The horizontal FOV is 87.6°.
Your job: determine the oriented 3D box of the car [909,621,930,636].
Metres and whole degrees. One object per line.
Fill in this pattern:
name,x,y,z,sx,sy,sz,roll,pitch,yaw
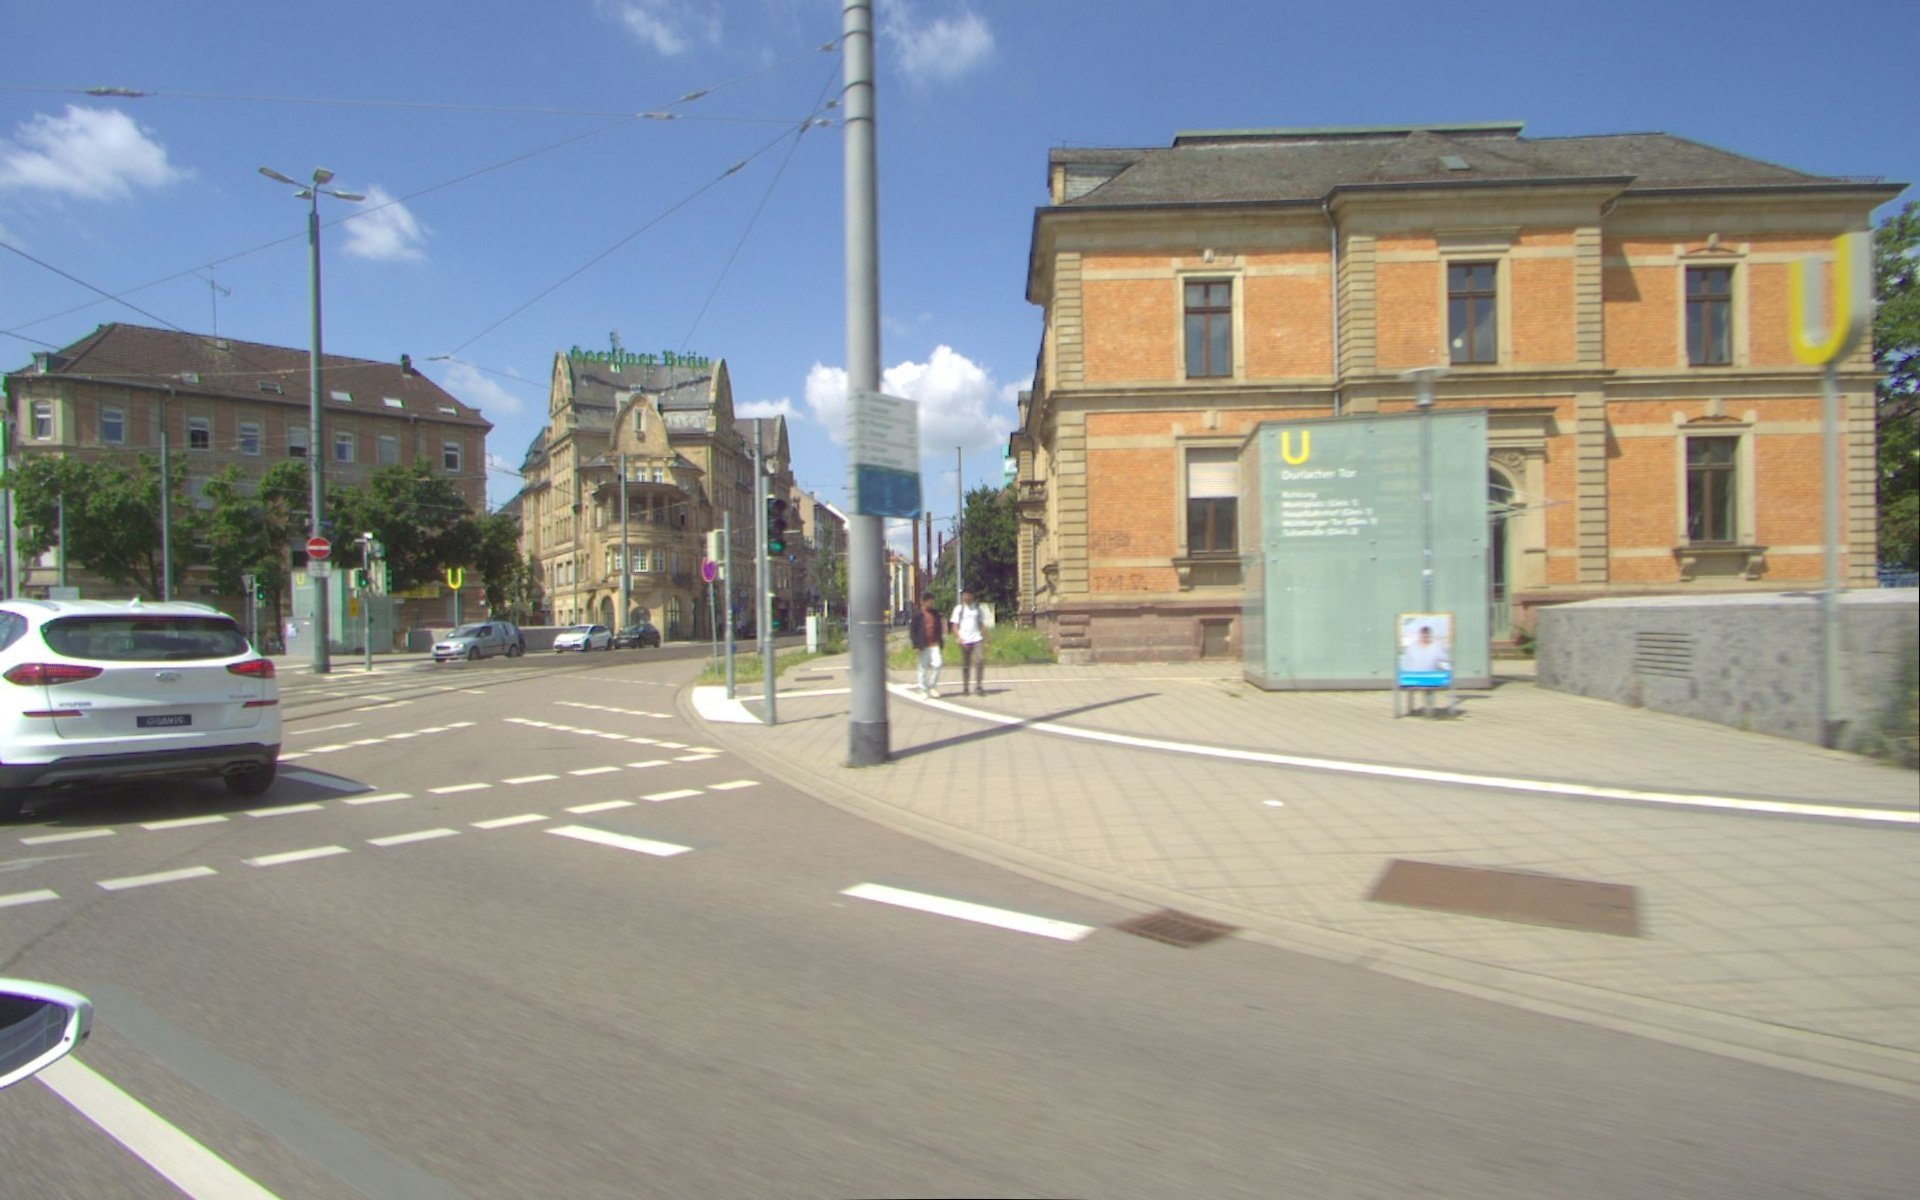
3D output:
car,-4.225,2.957,104.805,1.690,1.493,4.140,-1,-1,3

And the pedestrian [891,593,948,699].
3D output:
pedestrian,-0.687,0.740,16.759,0.847,1.680,0.966,-3,1,-3

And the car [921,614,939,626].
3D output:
car,-3.726,2.494,125.028,1.906,1.493,4.263,-1,-1,3

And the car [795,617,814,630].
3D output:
car,-18.783,2.822,121.050,1.690,1.493,4.140,-1,-1,1

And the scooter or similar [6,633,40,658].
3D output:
scooter or similar,-45.460,2.185,48.608,0.375,1.189,1.522,-1,-2,-7

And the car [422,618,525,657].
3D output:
car,-19.839,1.495,41.068,1.691,1.493,4.138,-1,-1,10

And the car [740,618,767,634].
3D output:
car,-19.700,2.436,95.577,1.690,1.493,4.140,-1,-1,1

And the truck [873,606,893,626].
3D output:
truck,-12.211,2.542,158.265,2.513,2.966,7.111,-1,-1,1

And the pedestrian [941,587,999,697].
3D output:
pedestrian,0.159,0.689,16.936,0.847,1.775,0.757,-3,1,-3

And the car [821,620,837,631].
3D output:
car,-18.193,3.496,139.110,1.690,1.493,4.140,-1,-1,1

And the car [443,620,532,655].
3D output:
car,-22.088,1.726,46.956,1.691,1.493,4.138,-1,-1,10

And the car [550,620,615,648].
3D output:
car,-21.105,1.891,56.171,1.690,1.493,4.139,-1,-1,7

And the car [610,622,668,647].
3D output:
car,-20.128,2.153,62.967,1.691,1.493,4.138,-1,-1,10

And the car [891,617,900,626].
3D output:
car,-15.297,5.092,236.930,1.690,1.905,4.140,-1,-1,1

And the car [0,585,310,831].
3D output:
car,-7.614,0.771,8.770,4.177,1.663,1.875,-1,-1,36
